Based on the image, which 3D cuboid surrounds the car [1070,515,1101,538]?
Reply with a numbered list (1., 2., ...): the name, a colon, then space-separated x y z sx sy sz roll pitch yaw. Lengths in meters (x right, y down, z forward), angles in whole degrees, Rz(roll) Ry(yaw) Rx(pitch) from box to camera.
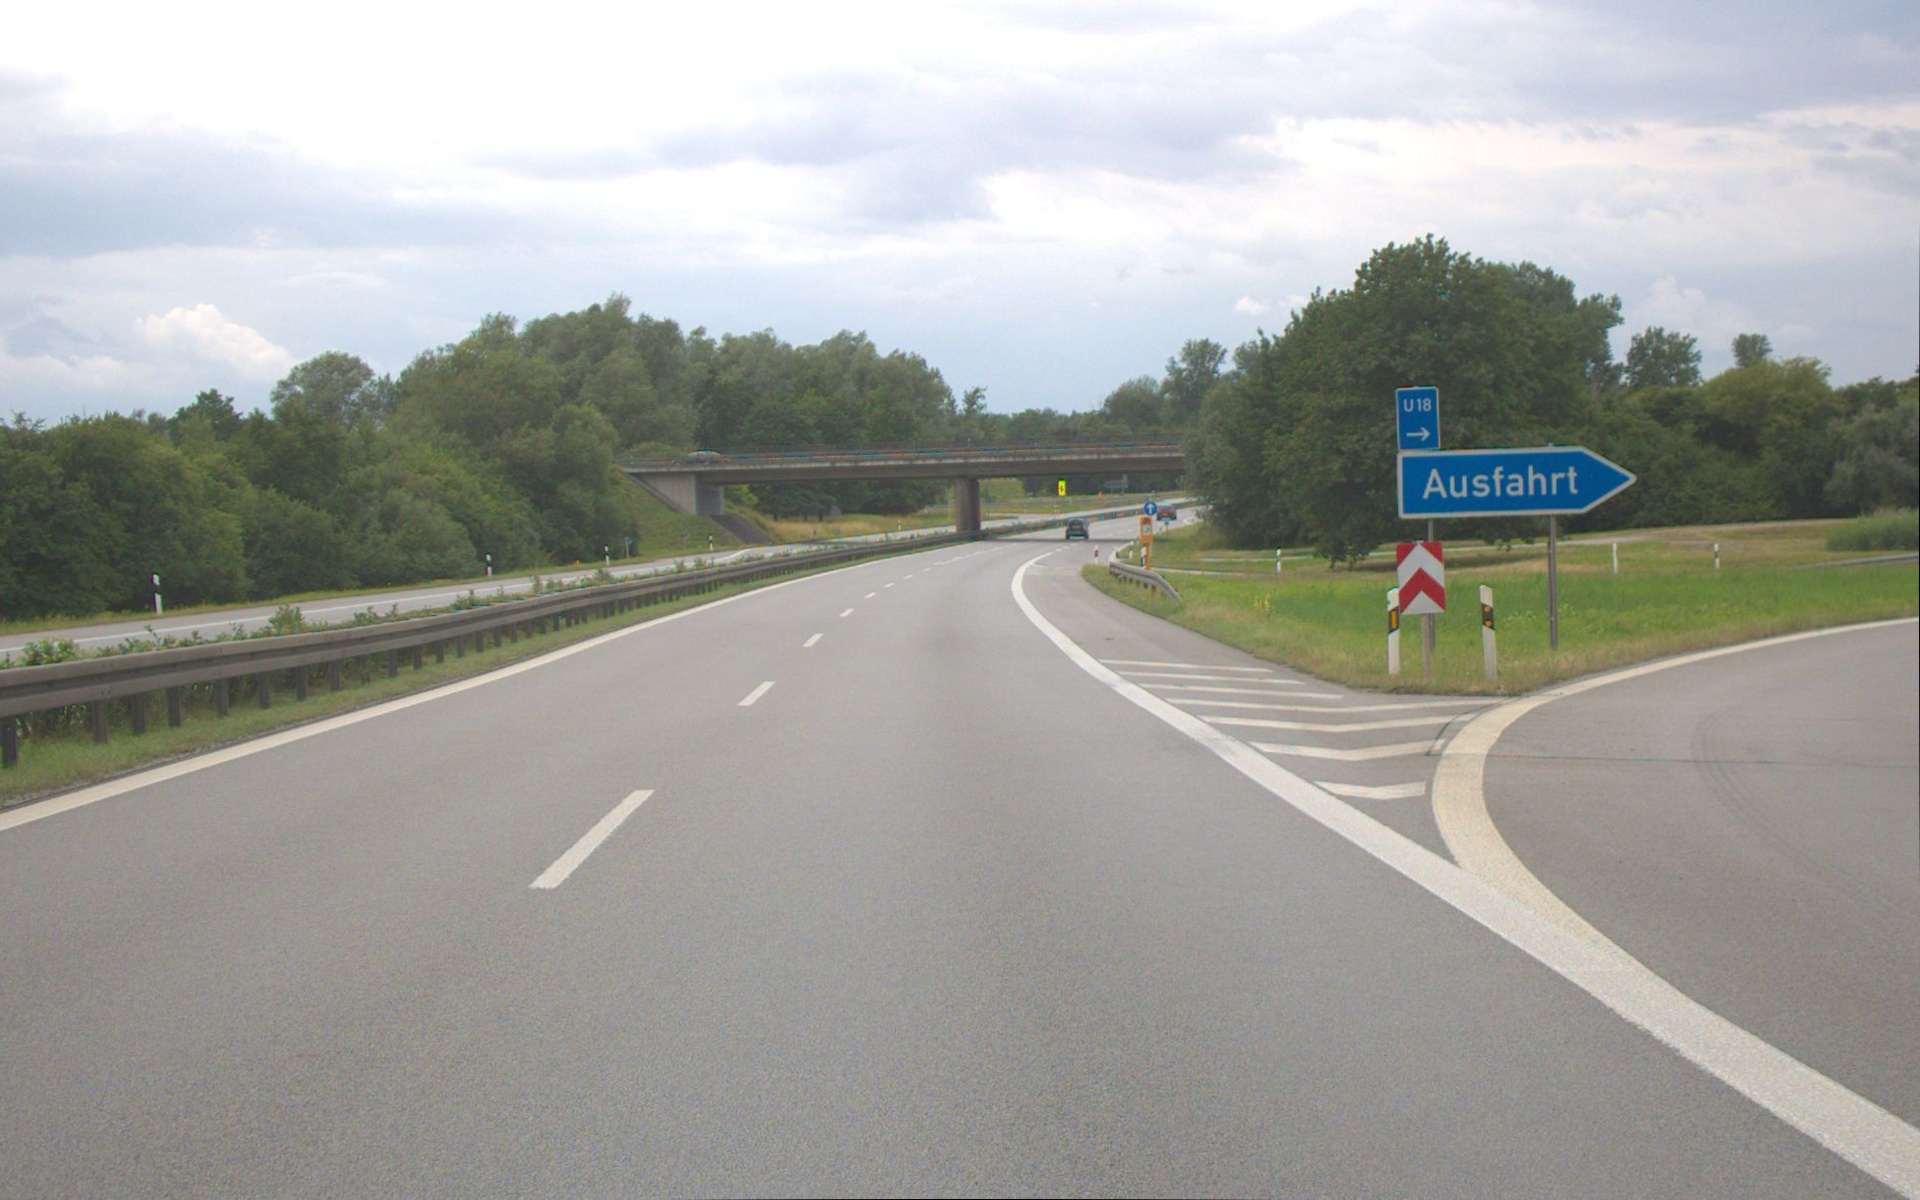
1. car: 9.432 -5.532 257.972 1.846 1.711 3.999 -1 1 9
